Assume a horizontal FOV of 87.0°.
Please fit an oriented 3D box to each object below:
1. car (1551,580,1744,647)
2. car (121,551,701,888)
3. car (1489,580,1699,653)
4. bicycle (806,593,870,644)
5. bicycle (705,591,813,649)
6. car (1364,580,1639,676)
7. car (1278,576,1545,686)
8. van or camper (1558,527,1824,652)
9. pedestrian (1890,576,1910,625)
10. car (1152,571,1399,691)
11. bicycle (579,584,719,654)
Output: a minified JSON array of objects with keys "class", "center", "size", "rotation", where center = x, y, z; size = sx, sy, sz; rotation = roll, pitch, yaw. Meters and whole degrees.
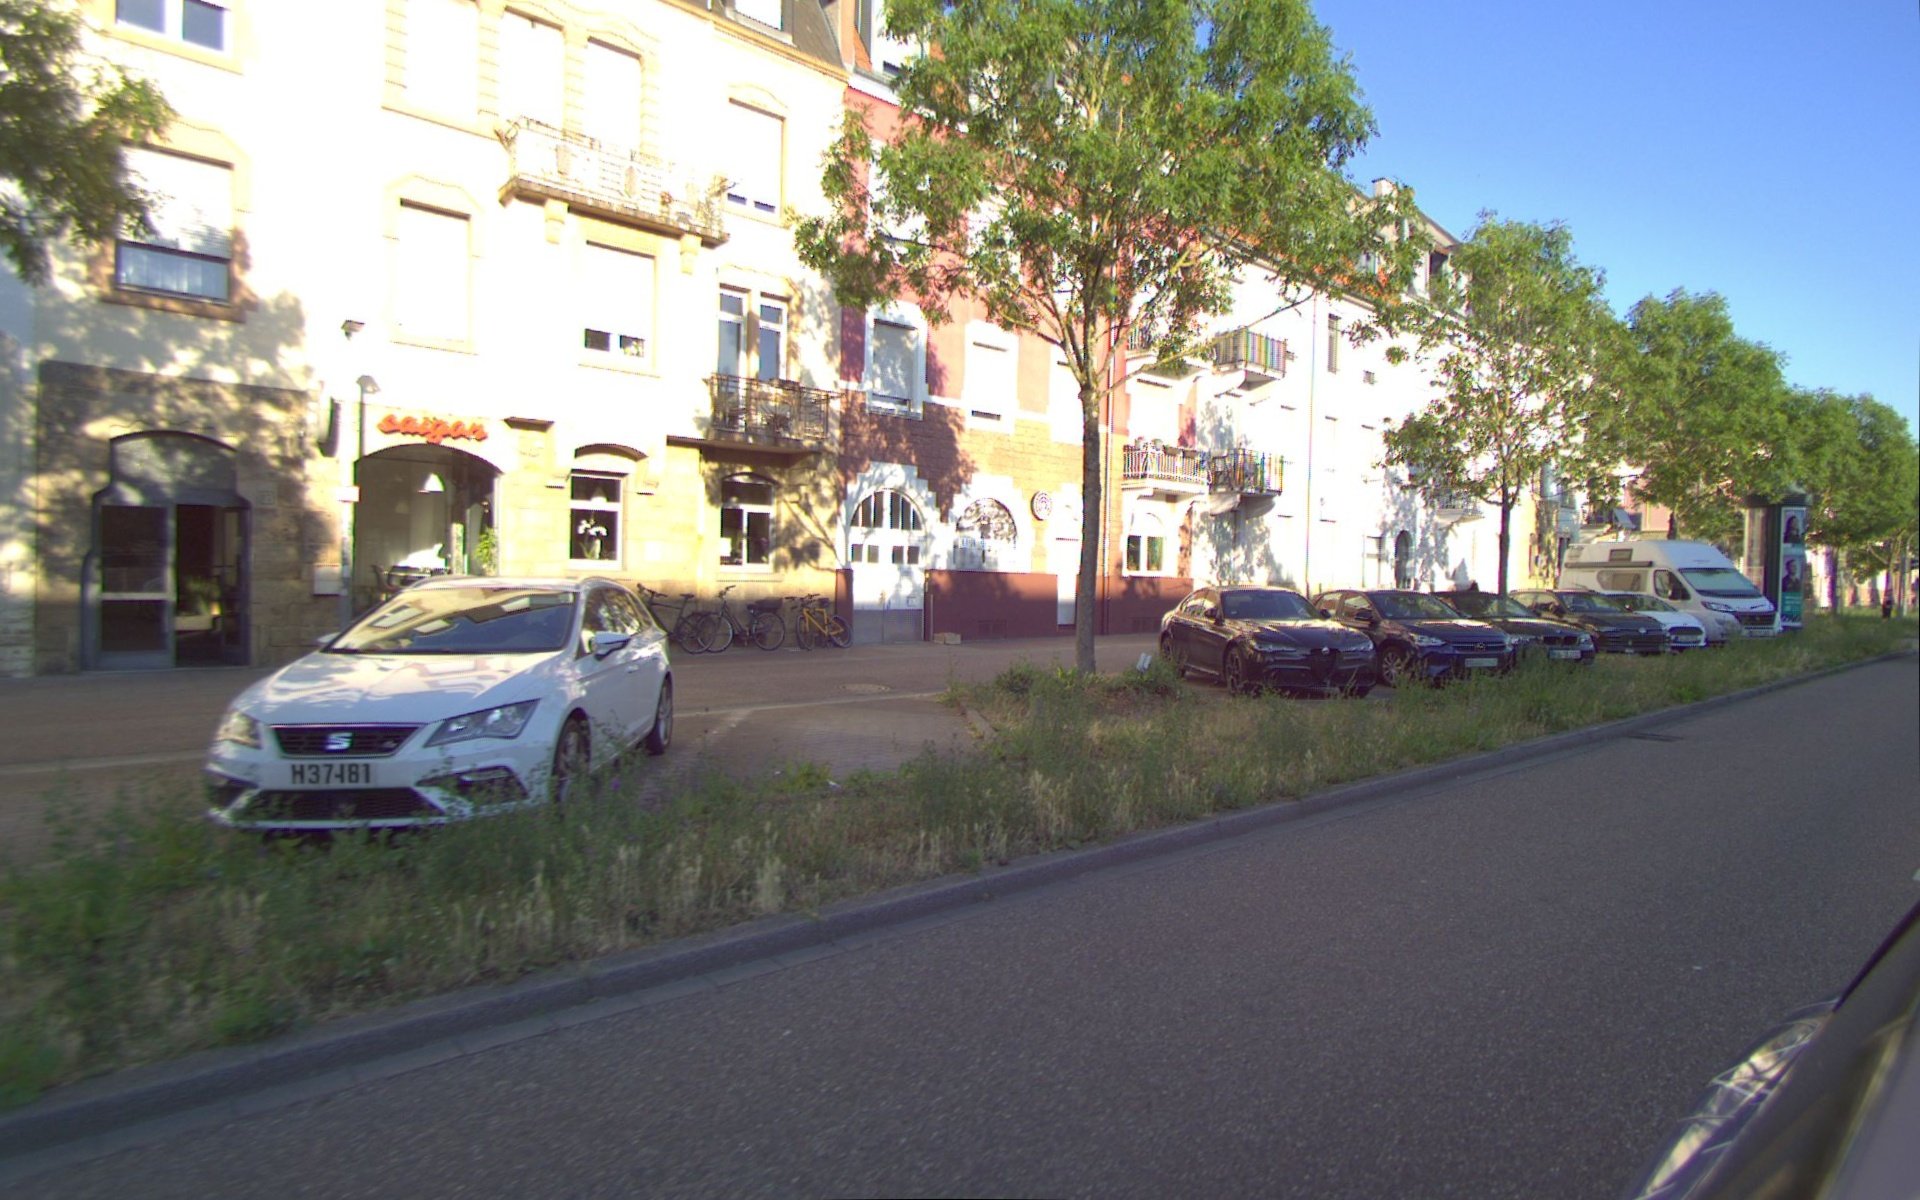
[{"class":"car","center":[16.119,0.254,23.993],"size":[1.761,1.420,3.926],"rotation":[1,1,-2]},{"class":"car","center":[-3.102,0.497,6.972],"size":[1.810,1.529,4.652],"rotation":[1,1,-5]},{"class":"car","center":[13.802,0.287,22.381],"size":[1.760,1.420,4.280],"rotation":[1,1,-3]},{"class":"bicycle","center":[-2.372,0.346,19.716],"size":[1.197,0.973,0.419],"rotation":[0,1,-41]},{"class":"bicycle","center":[-3.627,0.337,18.391],"size":[1.894,1.003,0.580],"rotation":[0,1,-41]},{"class":"car","center":[9.064,0.407,17.464],"size":[1.883,1.441,4.443],"rotation":[1,0,-8]},{"class":"car","center":[6.736,0.380,15.633],"size":[1.691,1.455,4.061],"rotation":[0,1,-12]},{"class":"van or camper","center":[18.579,-0.305,26.204],"size":[2.159,2.847,5.661],"rotation":[1,1,-9]},{"class":"pedestrian","center":[39.577,-0.001,42.596],"size":[0.588,2.039,0.513],"rotation":[0,1,-41]},{"class":"car","center":[4.259,0.359,14.489],"size":[1.848,1.434,4.440],"rotation":[1,0,-4]},{"class":"bicycle","center":[-5.198,0.299,17.008],"size":[2.189,1.092,0.589],"rotation":[0,3,-41]}]
